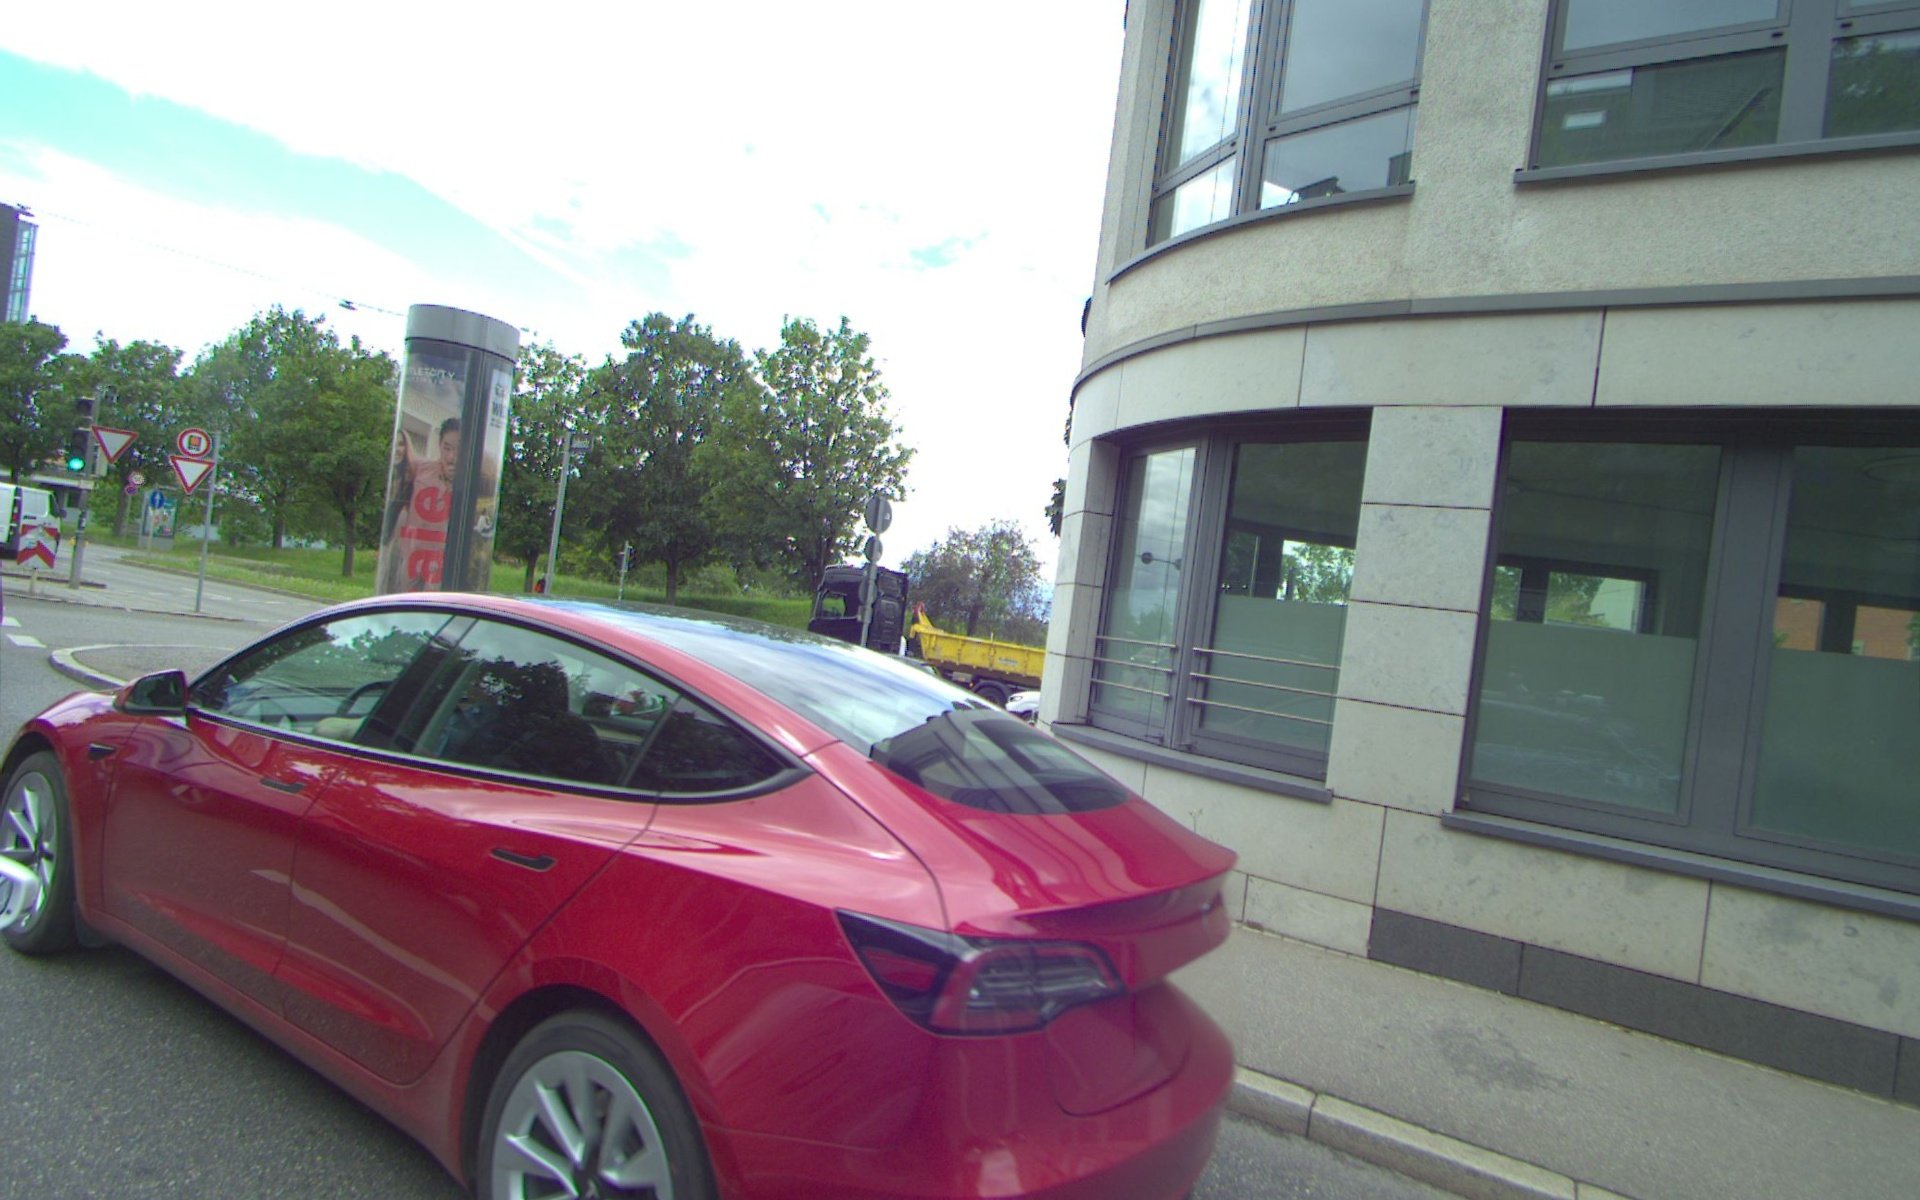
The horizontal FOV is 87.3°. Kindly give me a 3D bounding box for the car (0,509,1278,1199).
[{"bbox_3d":[-1.453,0.688,3.343,4.367,1.434,1.878,7,-2,30],"label":"car"}]

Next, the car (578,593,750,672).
[{"bbox_3d":[-8.647,0.954,29.386,4.404,1.547,1.858,9,-2,19],"label":"car"}]

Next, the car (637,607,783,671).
[{"bbox_3d":[-8.179,1.286,32.948,4.081,1.458,1.992,8,-2,19],"label":"car"}]

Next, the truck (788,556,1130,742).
[{"bbox_3d":[-0.045,1.364,29.722,9.280,3.969,2.832,8,-2,18],"label":"truck"}]

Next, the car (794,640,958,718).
[{"bbox_3d":[-2.237,2.109,26.894,3.903,1.389,1.656,8,-2,19],"label":"car"}]

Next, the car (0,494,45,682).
[{"bbox_3d":[-9.599,-0.349,8.569,3.659,1.498,1.747,7,-2,34],"label":"car"}]

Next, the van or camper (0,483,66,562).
[{"bbox_3d":[-26.223,-2.207,27.366,1.982,1.940,4.370,9,-1,-33],"label":"van or camper"}]

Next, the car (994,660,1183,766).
[{"bbox_3d":[3.212,2.758,24.945,4.206,1.817,1.758,9,-2,17],"label":"car"}]

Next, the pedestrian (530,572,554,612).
[{"bbox_3d":[-17.887,-0.333,43.047,0.690,1.626,0.541,9,5,31],"label":"pedestrian"}]
